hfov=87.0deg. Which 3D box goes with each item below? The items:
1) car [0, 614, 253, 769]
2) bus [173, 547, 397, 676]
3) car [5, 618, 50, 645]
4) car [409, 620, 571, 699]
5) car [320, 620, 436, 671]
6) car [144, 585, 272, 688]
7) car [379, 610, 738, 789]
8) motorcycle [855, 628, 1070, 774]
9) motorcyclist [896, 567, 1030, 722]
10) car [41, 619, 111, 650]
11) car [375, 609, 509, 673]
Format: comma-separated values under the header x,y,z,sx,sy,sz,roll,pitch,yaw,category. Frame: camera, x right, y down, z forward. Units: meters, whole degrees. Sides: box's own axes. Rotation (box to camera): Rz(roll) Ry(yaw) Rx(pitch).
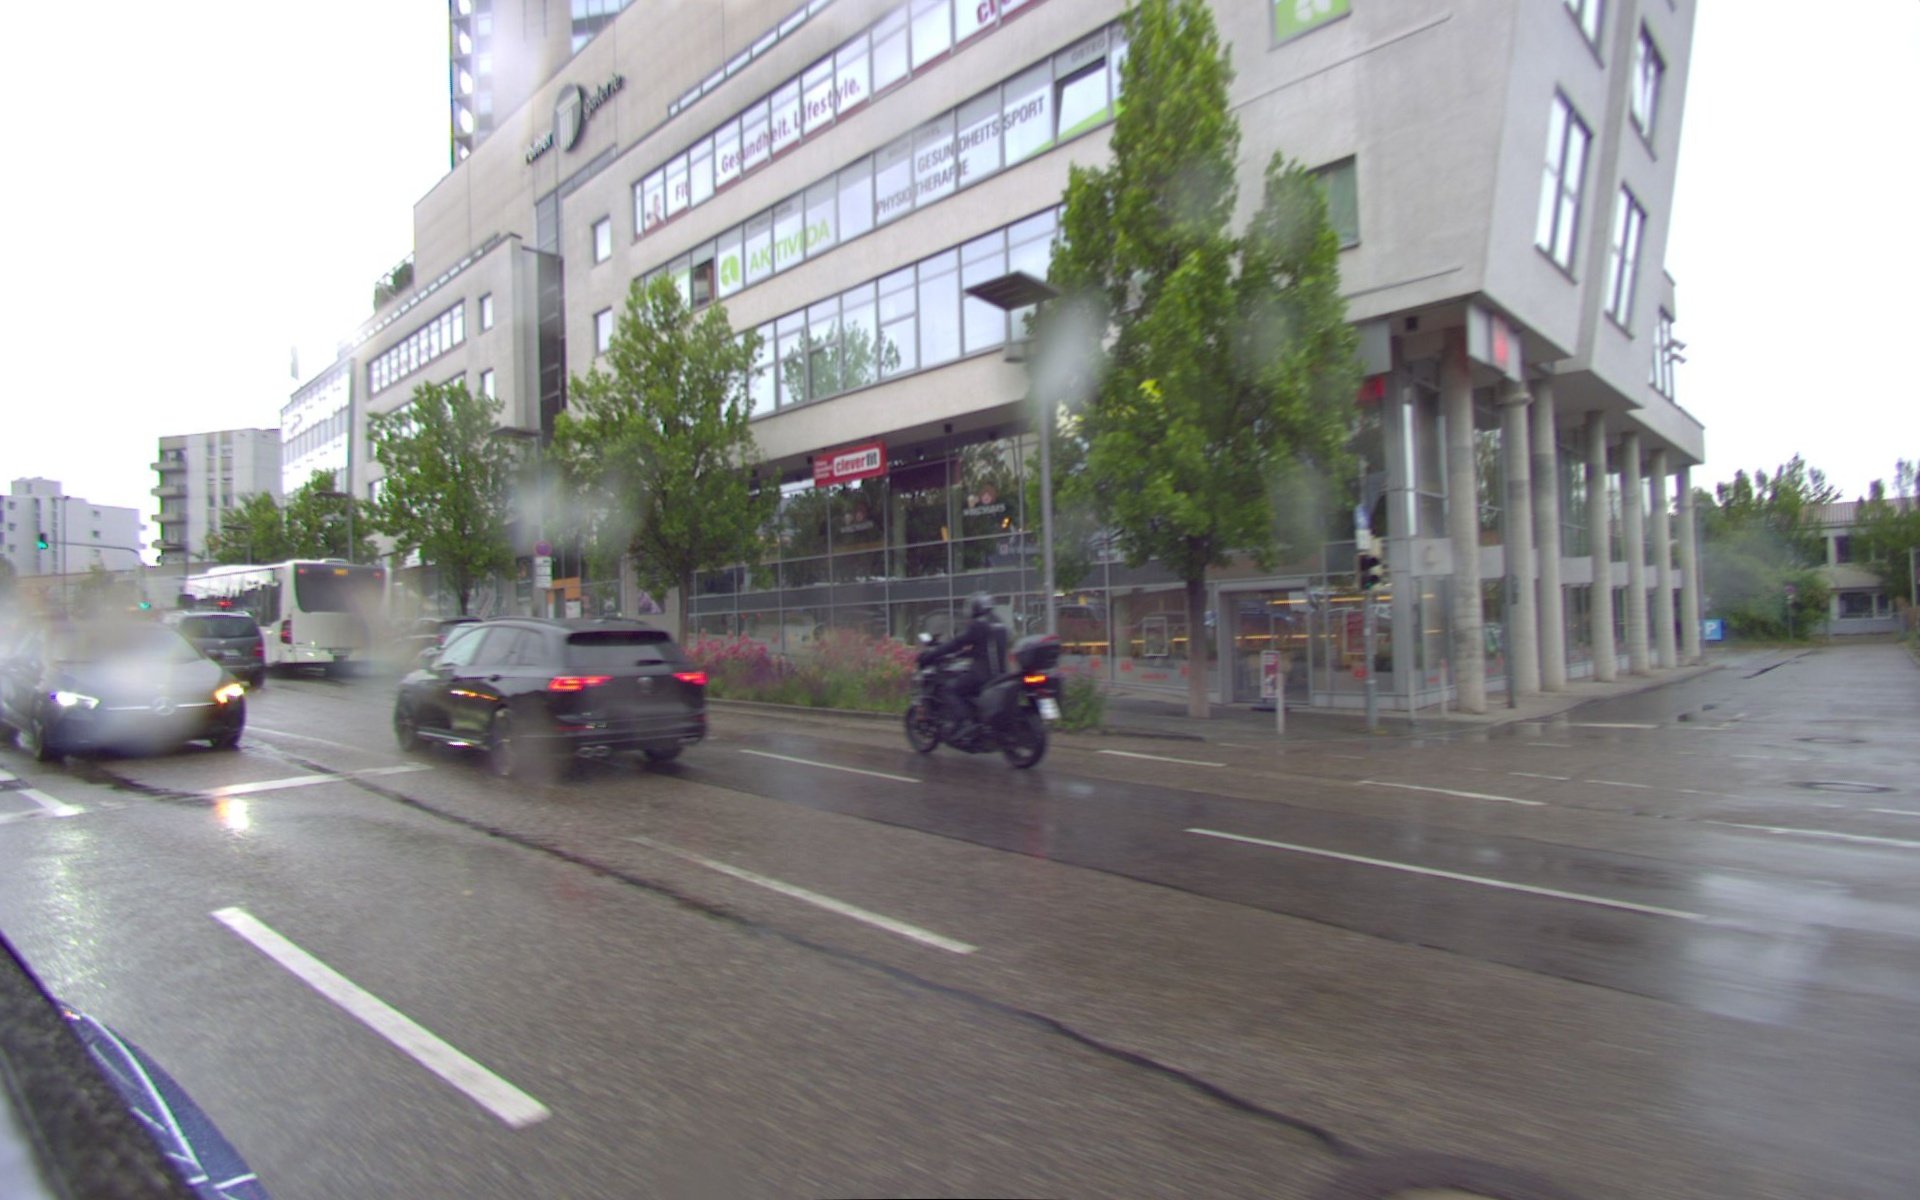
x,y,z,sx,sy,sz,roll,pitch,yaw,category
-9.847,0.899,11.664,4.194,1.461,1.698,0,-1,39,car
-20.031,0.327,29.536,12.001,3.123,2.860,-1,-1,44,bus
-50.219,1.677,54.502,3.282,1.386,1.548,-1,-2,43,car
-9.139,1.079,19.580,3.601,1.348,1.623,-1,-1,43,car
-18.218,1.370,31.592,4.474,1.458,1.806,0,-1,42,car
-16.503,0.738,22.118,4.287,2.029,1.615,-1,-1,45,car
-4.262,0.831,10.358,4.381,1.445,1.739,-1,-1,43,car
-0.017,0.948,10.315,2.186,1.293,0.897,-1,-1,44,motorcycle
0.023,0.428,10.249,1.140,1.467,0.776,-1,-1,44,motorcyclist
-39.004,1.503,44.613,4.194,1.266,1.876,-1,-1,43,car
-14.254,1.066,27.757,3.999,1.608,1.972,-1,-1,42,car
